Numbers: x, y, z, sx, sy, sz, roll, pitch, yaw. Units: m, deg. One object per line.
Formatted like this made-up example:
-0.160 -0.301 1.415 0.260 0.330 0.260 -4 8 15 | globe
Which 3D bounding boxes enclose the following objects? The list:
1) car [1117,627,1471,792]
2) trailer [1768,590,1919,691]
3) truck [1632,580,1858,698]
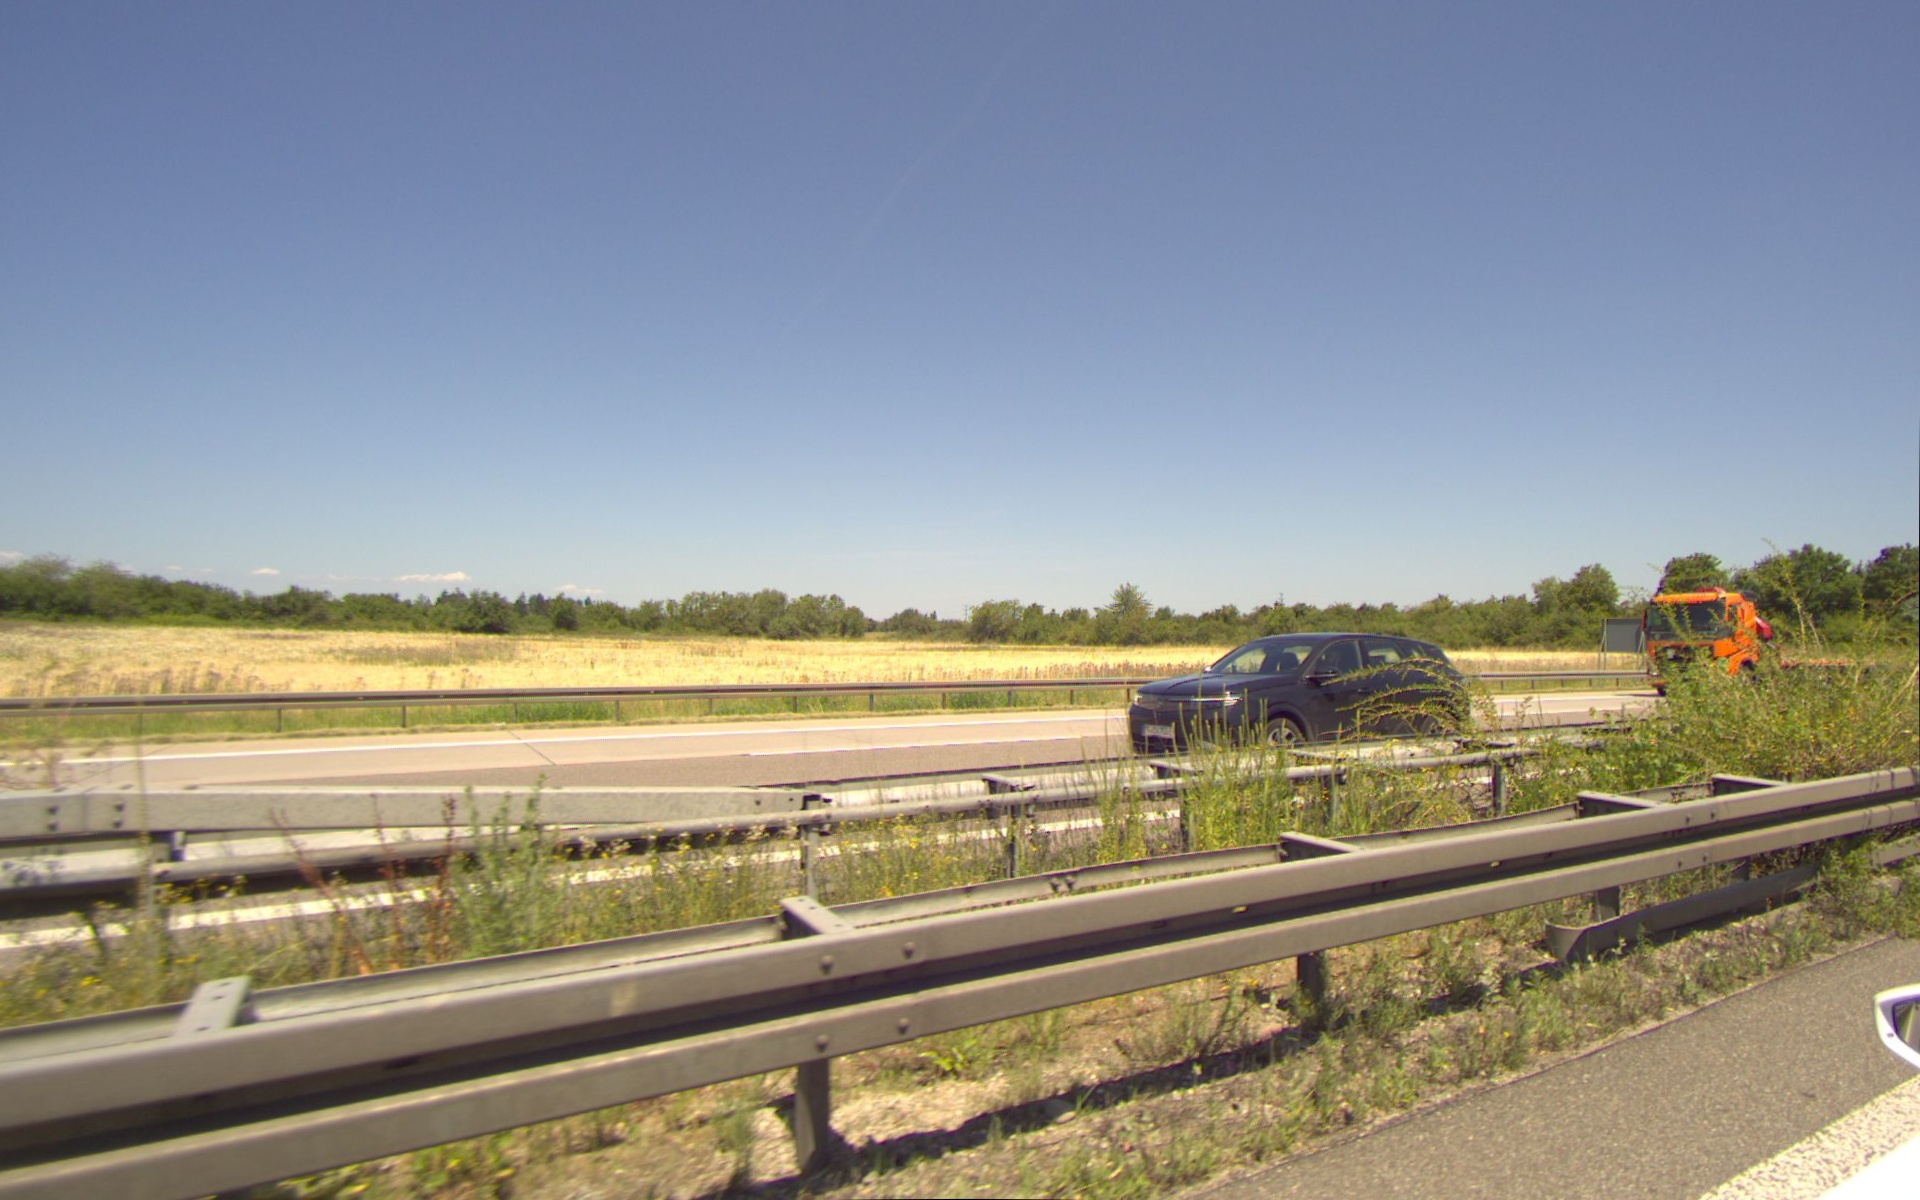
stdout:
4.037 1.203 12.028 4.076 1.675 1.791 2 -3 -30 | car
35.774 1.642 40.035 8.435 3.709 2.641 2 -3 -30 | trailer
27.759 1.407 35.351 10.068 3.709 2.641 2 -3 -30 | truck
